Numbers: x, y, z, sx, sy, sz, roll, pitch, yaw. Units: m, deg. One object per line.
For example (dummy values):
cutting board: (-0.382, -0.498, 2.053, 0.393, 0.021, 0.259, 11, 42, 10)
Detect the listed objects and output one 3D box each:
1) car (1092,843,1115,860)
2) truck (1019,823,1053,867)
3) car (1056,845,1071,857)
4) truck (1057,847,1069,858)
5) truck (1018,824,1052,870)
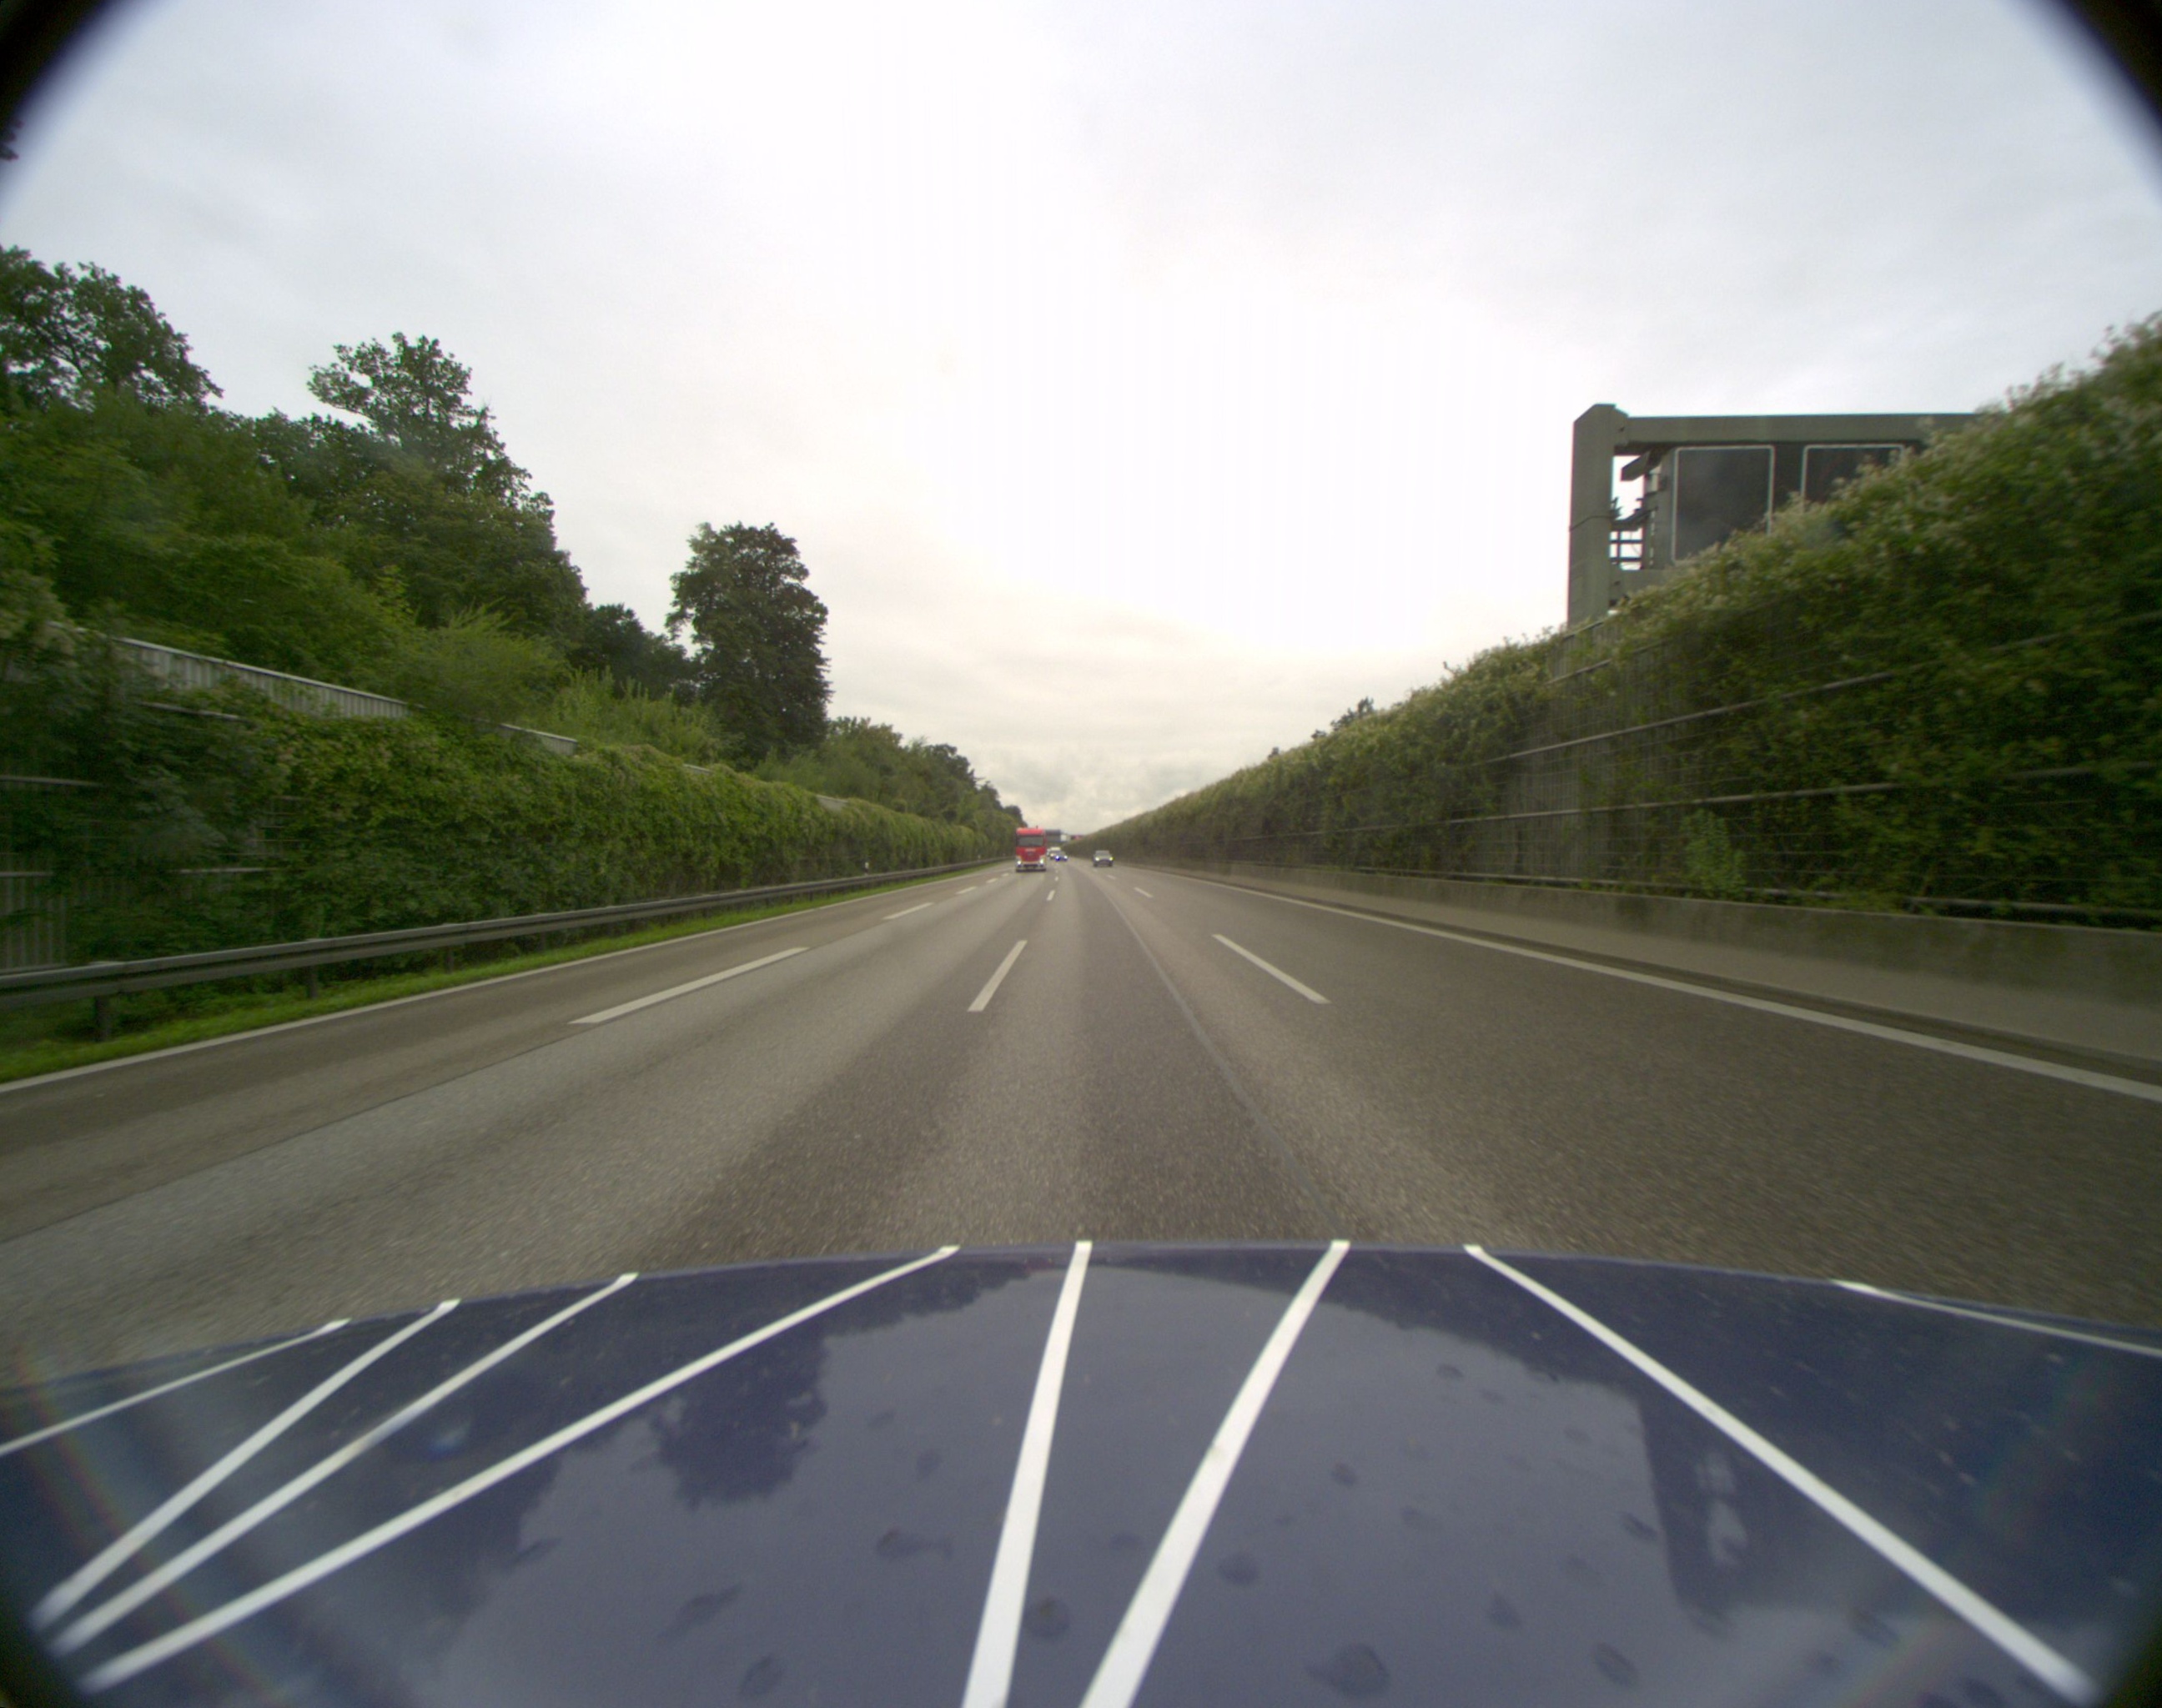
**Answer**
car: (2.313, -0.291, 79.332, 2.023, 1.595, 5.437, -3, 2, -1)
truck: (-3.987, -0.907, 69.442, 2.709, 3.691, 9.836, -1, 2, -2)
car: (-3.413, -0.607, 151.007, 2.769, 2.227, 6.543, -2, 1, -3)
truck: (-3.047, -0.231, 126.173, 1.825, 1.535, 3.997, -2, 2, -2)
truck: (-3.868, -0.660, 64.759, 2.709, 3.809, 4.196, -1, 2, -1)
